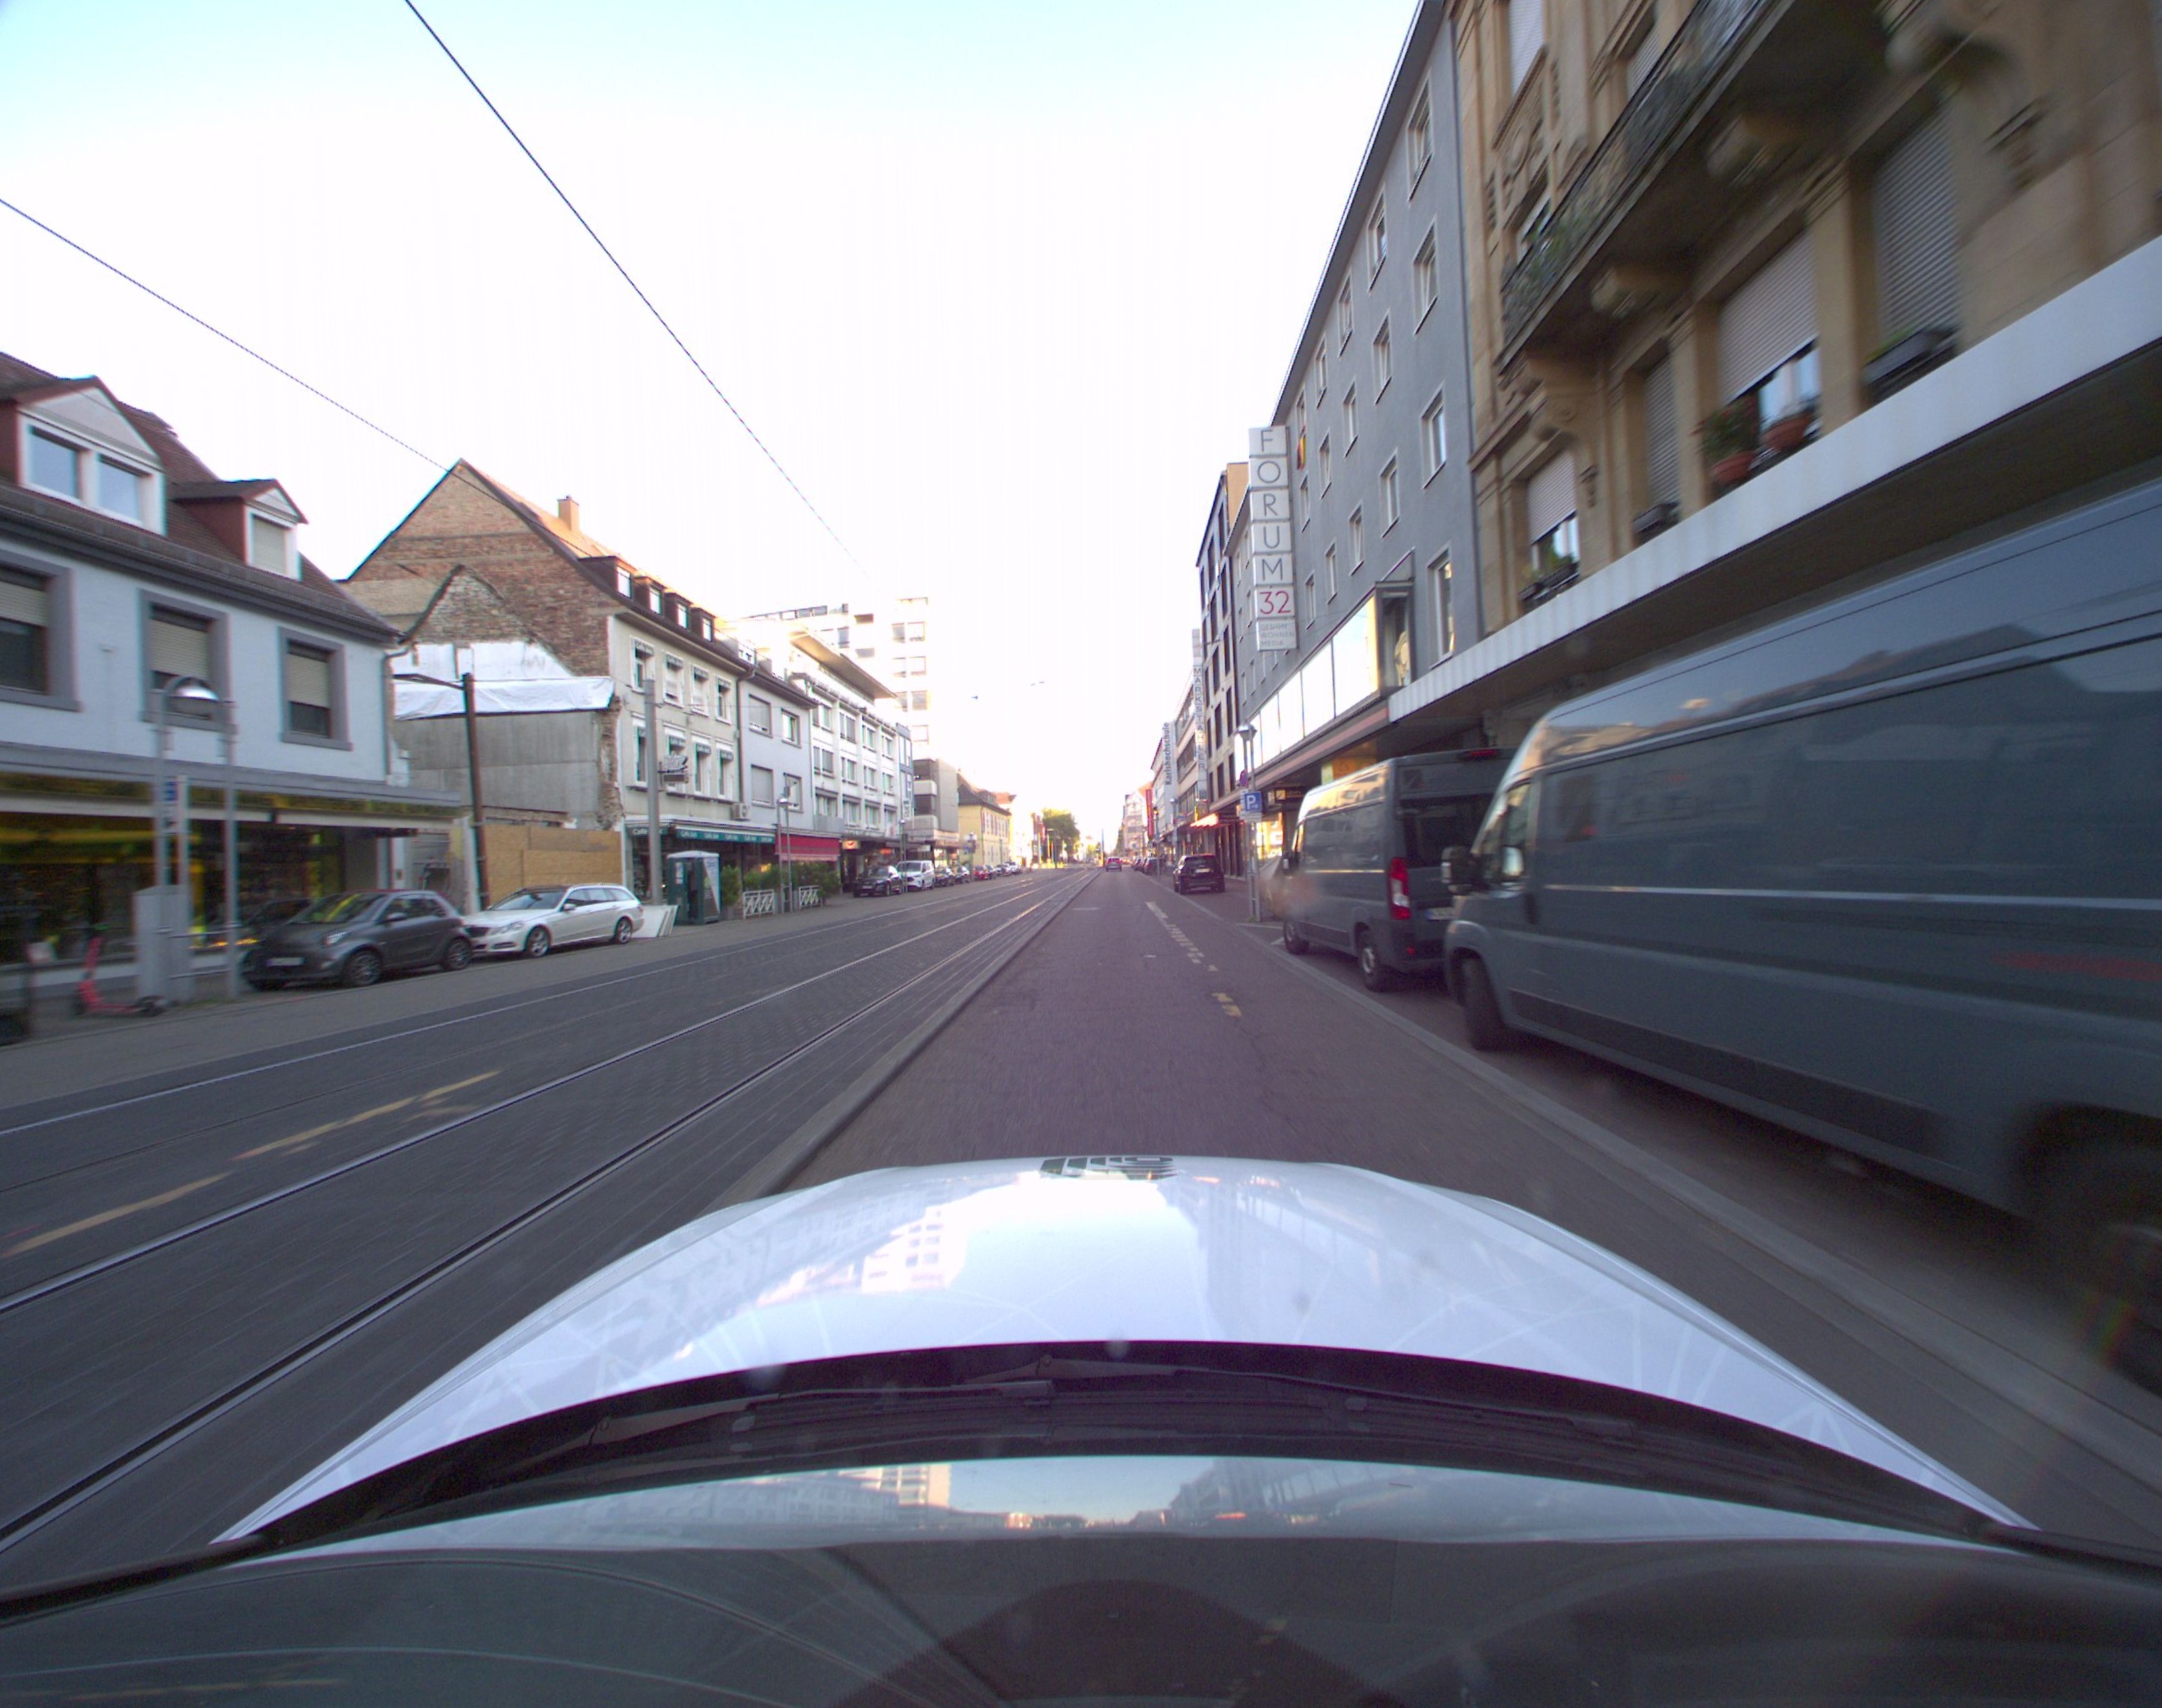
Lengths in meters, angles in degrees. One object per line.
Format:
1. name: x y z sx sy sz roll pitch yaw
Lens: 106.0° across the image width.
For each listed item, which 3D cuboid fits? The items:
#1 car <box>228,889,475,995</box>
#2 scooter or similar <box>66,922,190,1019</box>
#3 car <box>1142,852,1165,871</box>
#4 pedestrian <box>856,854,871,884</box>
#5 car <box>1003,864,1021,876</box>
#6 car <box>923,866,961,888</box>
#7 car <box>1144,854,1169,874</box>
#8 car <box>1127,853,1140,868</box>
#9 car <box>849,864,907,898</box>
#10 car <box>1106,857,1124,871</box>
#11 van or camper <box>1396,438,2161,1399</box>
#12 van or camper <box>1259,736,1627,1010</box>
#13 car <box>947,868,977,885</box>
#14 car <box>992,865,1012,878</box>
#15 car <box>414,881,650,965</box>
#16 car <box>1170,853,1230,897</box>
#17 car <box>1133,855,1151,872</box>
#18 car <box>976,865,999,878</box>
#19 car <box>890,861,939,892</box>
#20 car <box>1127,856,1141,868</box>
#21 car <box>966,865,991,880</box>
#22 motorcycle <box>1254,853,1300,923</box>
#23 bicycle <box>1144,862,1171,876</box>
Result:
1. car: -12.182 1.407 13.836 1.585 1.504 2.813 0 0 2
2. scooter or similar: -12.334 1.498 10.548 1.308 1.205 0.294 0 -1 2
3. car: 6.834 0.708 77.292 1.936 1.545 4.548 -4 0 3
4. pedestrian: -13.509 0.938 50.574 0.645 1.820 0.837 0 -1 2
5. car: -8.572 2.015 101.386 1.784 1.449 3.893 0 0 2
6. car: -10.282 1.680 60.529 1.910 1.521 4.631 0 0 2
7. car: 6.568 0.859 71.417 1.936 1.545 4.548 -4 0 3
8. car: 8.511 1.010 131.453 1.936 2.145 4.548 -4 0 3
9. car: -11.177 1.476 45.181 1.909 1.763 4.432 0 0 3
10. car: 4.018 1.206 96.006 1.935 1.545 4.548 -2 0 3
11. van or camper: 3.877 0.131 4.177 2.180 2.426 6.135 -5 -1 2
12. van or camper: 4.025 0.197 10.460 2.181 2.426 5.518 -5 -1 1
13. car: -9.723 1.825 66.812 1.784 1.339 3.893 0 0 2
14. car: -9.214 2.013 95.348 1.784 1.449 3.893 0 0 2
15. car: -12.003 1.433 18.329 1.842 1.504 4.845 0 0 3
16. car: 4.801 0.796 33.442 1.936 1.545 4.548 -4 0 3
17. car: 6.927 1.039 92.967 1.936 1.703 4.548 -4 0 3
18. car: -9.443 1.755 82.251 1.784 1.339 3.893 0 0 2
19. car: -10.766 1.427 53.005 1.909 1.936 4.845 0 0 3
20. car: 7.815 1.148 119.612 1.936 1.703 4.548 -4 0 3
21. car: -9.639 1.756 76.923 1.784 1.339 3.893 0 0 2
22. motorcycle: 4.374 0.723 18.264 0.807 1.417 2.010 -4 0 10
23. bicycle: 6.362 1.255 67.739 2.112 1.090 0.591 -3 -1 -1
